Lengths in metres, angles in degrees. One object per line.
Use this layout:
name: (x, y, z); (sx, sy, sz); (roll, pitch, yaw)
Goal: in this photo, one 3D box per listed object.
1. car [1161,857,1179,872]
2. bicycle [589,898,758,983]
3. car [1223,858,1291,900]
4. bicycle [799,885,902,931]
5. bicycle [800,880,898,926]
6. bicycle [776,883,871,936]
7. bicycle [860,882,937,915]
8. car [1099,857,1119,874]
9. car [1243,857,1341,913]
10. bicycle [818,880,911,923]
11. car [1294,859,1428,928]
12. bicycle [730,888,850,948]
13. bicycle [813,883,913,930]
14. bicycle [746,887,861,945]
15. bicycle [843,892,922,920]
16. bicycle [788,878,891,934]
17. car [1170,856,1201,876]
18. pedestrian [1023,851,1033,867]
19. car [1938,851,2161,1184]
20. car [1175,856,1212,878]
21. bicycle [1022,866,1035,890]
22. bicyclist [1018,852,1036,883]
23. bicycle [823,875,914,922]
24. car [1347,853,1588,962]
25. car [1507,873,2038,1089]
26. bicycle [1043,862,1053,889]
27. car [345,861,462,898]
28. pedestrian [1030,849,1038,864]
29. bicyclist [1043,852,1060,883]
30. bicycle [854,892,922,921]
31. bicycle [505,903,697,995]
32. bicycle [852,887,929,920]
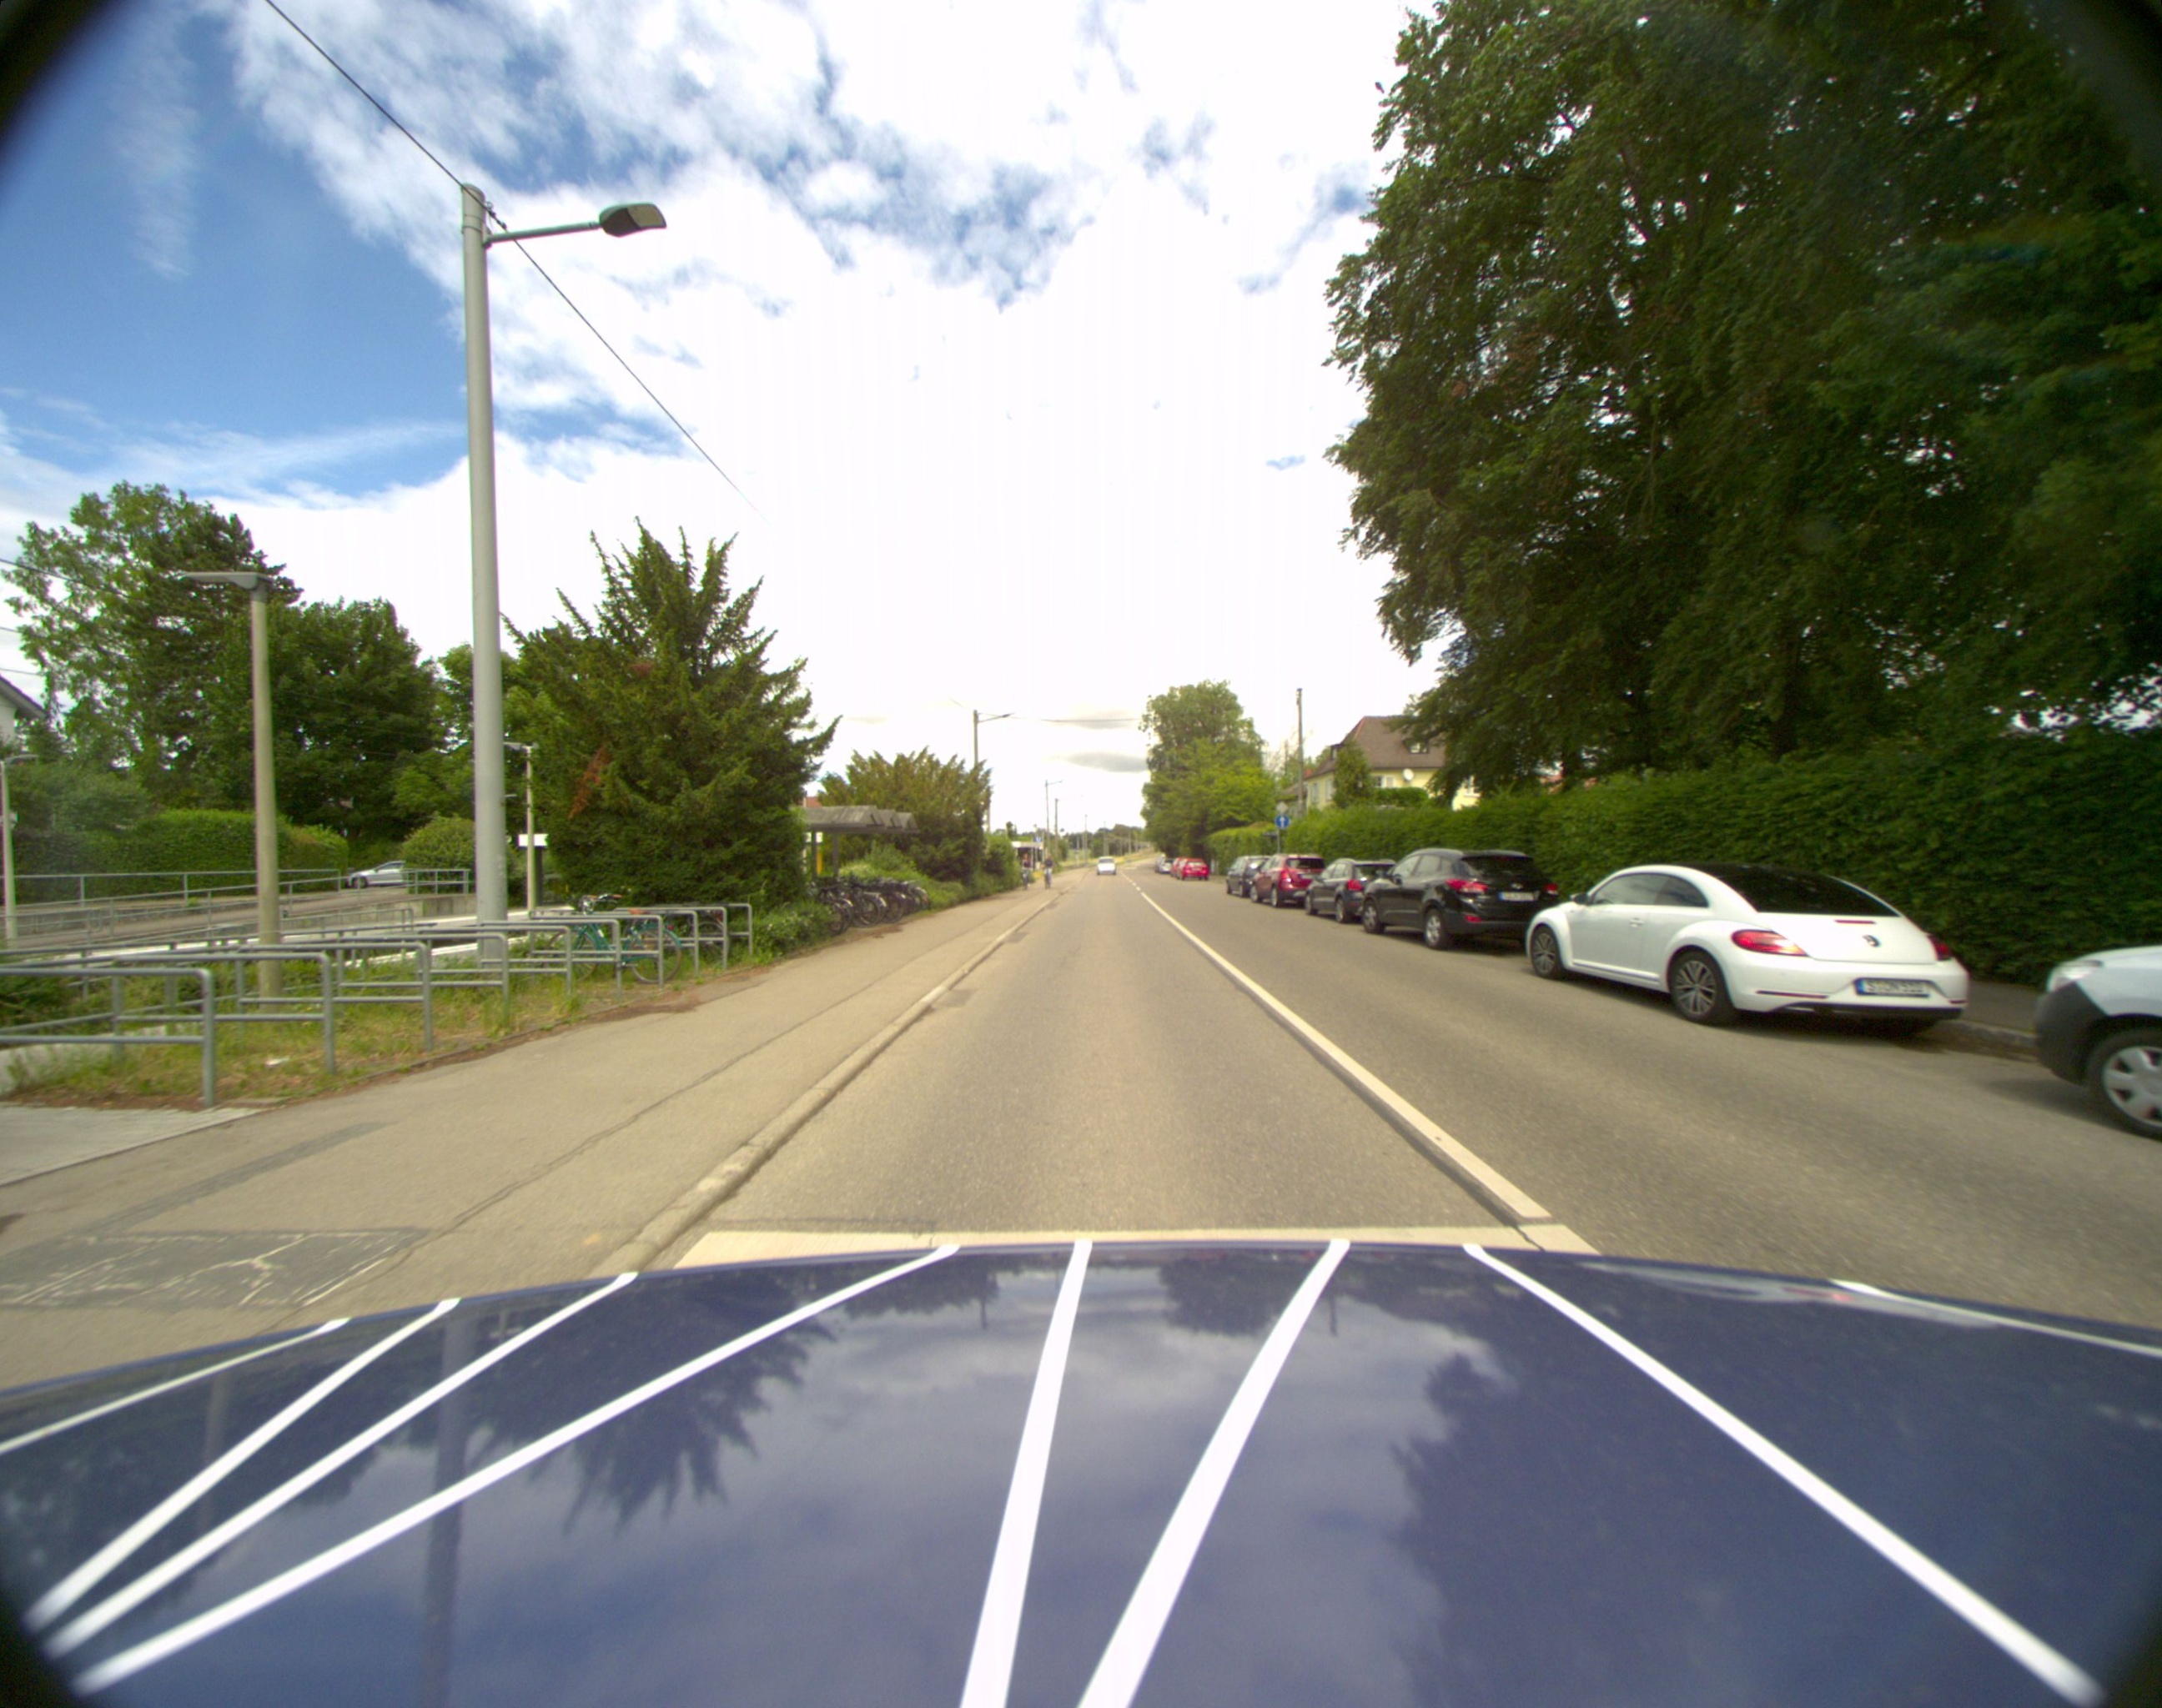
car: (8.256, 0.941, 70.567); (1.676, 1.363, 3.608); (1, 0, 6)
bicycle: (-5.835, 1.229, 10.920); (2.093, 1.041, 0.559); (-3, 1, 3)
car: (6.837, 0.915, 29.921); (1.761, 1.525, 4.328); (0, 0, 1)
bicycle: (-5.292, 1.239, 17.513); (2.206, 0.932, 0.451); (-2, 1, -2)
bicycle: (-5.662, 1.198, 18.596); (2.206, 1.041, 0.451); (2, 1, -1)
bicycle: (-5.506, 1.162, 16.206); (2.090, 1.041, 0.451); (0, 2, 21)
bicycle: (-5.240, 1.275, 21.804); (2.081, 0.821, 0.451); (-2, 1, 6)
car: (2.483, 1.029, 68.580); (1.666, 1.394, 3.899); (-1, 0, 0)
car: (6.648, 0.907, 24.414); (1.795, 1.601, 4.416); (-1, 0, -1)
bicycle: (-5.412, 1.184, 19.013); (2.205, 1.041, 0.451); (-1, 1, 6)
car: (6.739, 0.879, 18.787); (1.737, 1.450, 4.237); (-1, 0, 0)
bicycle: (-5.611, 1.234, 14.722); (2.094, 1.041, 0.450); (-2, 1, -2)
bicycle: (-5.150, 1.230, 17.991); (2.206, 1.041, 0.451); (-1, 1, -1)
bicycle: (-5.556, 1.244, 15.277); (2.094, 1.041, 0.450); (-2, 1, -2)
bicycle: (-5.281, 1.382, 20.302); (1.988, 0.635, 0.332); (-2, 1, -10)
bicycle: (-5.370, 1.149, 16.992); (2.094, 1.144, 0.530); (-2, 1, -2)
car: (7.946, 0.854, 57.936); (1.853, 1.442, 3.748); (-1, 0, 0)
pedestrian: (-4.710, 0.445, 67.331); (0.720, 1.412, 0.643); (-2, 1, 5)
car: (6.520, 0.866, 2.711); (1.681, 1.748, 4.607); (1, 0, 0)
car: (7.526, 0.838, 51.231); (1.971, 1.394, 4.066); (-1, 0, 2)
bicycle: (-2.628, 1.191, 38.118); (0.451, 1.143, 2.207); (-1, 1, 0)
bicyclist: (-2.691, 0.680, 38.128); (0.826, 1.529, 0.862); (-1, 0, 0)
bicycle: (-5.429, 1.126, 19.438); (2.205, 1.143, 0.451); (-1, 1, 6)
car: (6.573, 0.798, 13.634); (1.901, 1.584, 4.643); (-1, 0, -1)
car: (6.410, 1.005, 7.901); (1.708, 1.445, 4.358); (2, 0, 4)
bicycle: (-1.700, 1.091, 39.138); (0.451, 1.278, 2.207); (-2, 1, -4)
car: (-35.202, 1.304, 39.606); (4.000, 1.620, 1.998); (-4, 0, -10)
pedestrian: (-4.278, 0.235, 69.241); (0.588, 1.272, 0.582); (-2, 1, 5)
bicyclist: (-1.526, 0.684, 39.147); (0.826, 1.529, 0.861); (-2, 1, -2)
bicycle: (-5.069, 1.375, 20.031); (1.682, 0.635, 0.332); (-2, 1, -10)
bicycle: (-5.983, 1.171, 9.515); (2.093, 1.074, 0.547); (0, 1, 3)
bicycle: (-5.296, 1.379, 21.192); (1.994, 0.821, 0.451); (-2, 1, 1)
